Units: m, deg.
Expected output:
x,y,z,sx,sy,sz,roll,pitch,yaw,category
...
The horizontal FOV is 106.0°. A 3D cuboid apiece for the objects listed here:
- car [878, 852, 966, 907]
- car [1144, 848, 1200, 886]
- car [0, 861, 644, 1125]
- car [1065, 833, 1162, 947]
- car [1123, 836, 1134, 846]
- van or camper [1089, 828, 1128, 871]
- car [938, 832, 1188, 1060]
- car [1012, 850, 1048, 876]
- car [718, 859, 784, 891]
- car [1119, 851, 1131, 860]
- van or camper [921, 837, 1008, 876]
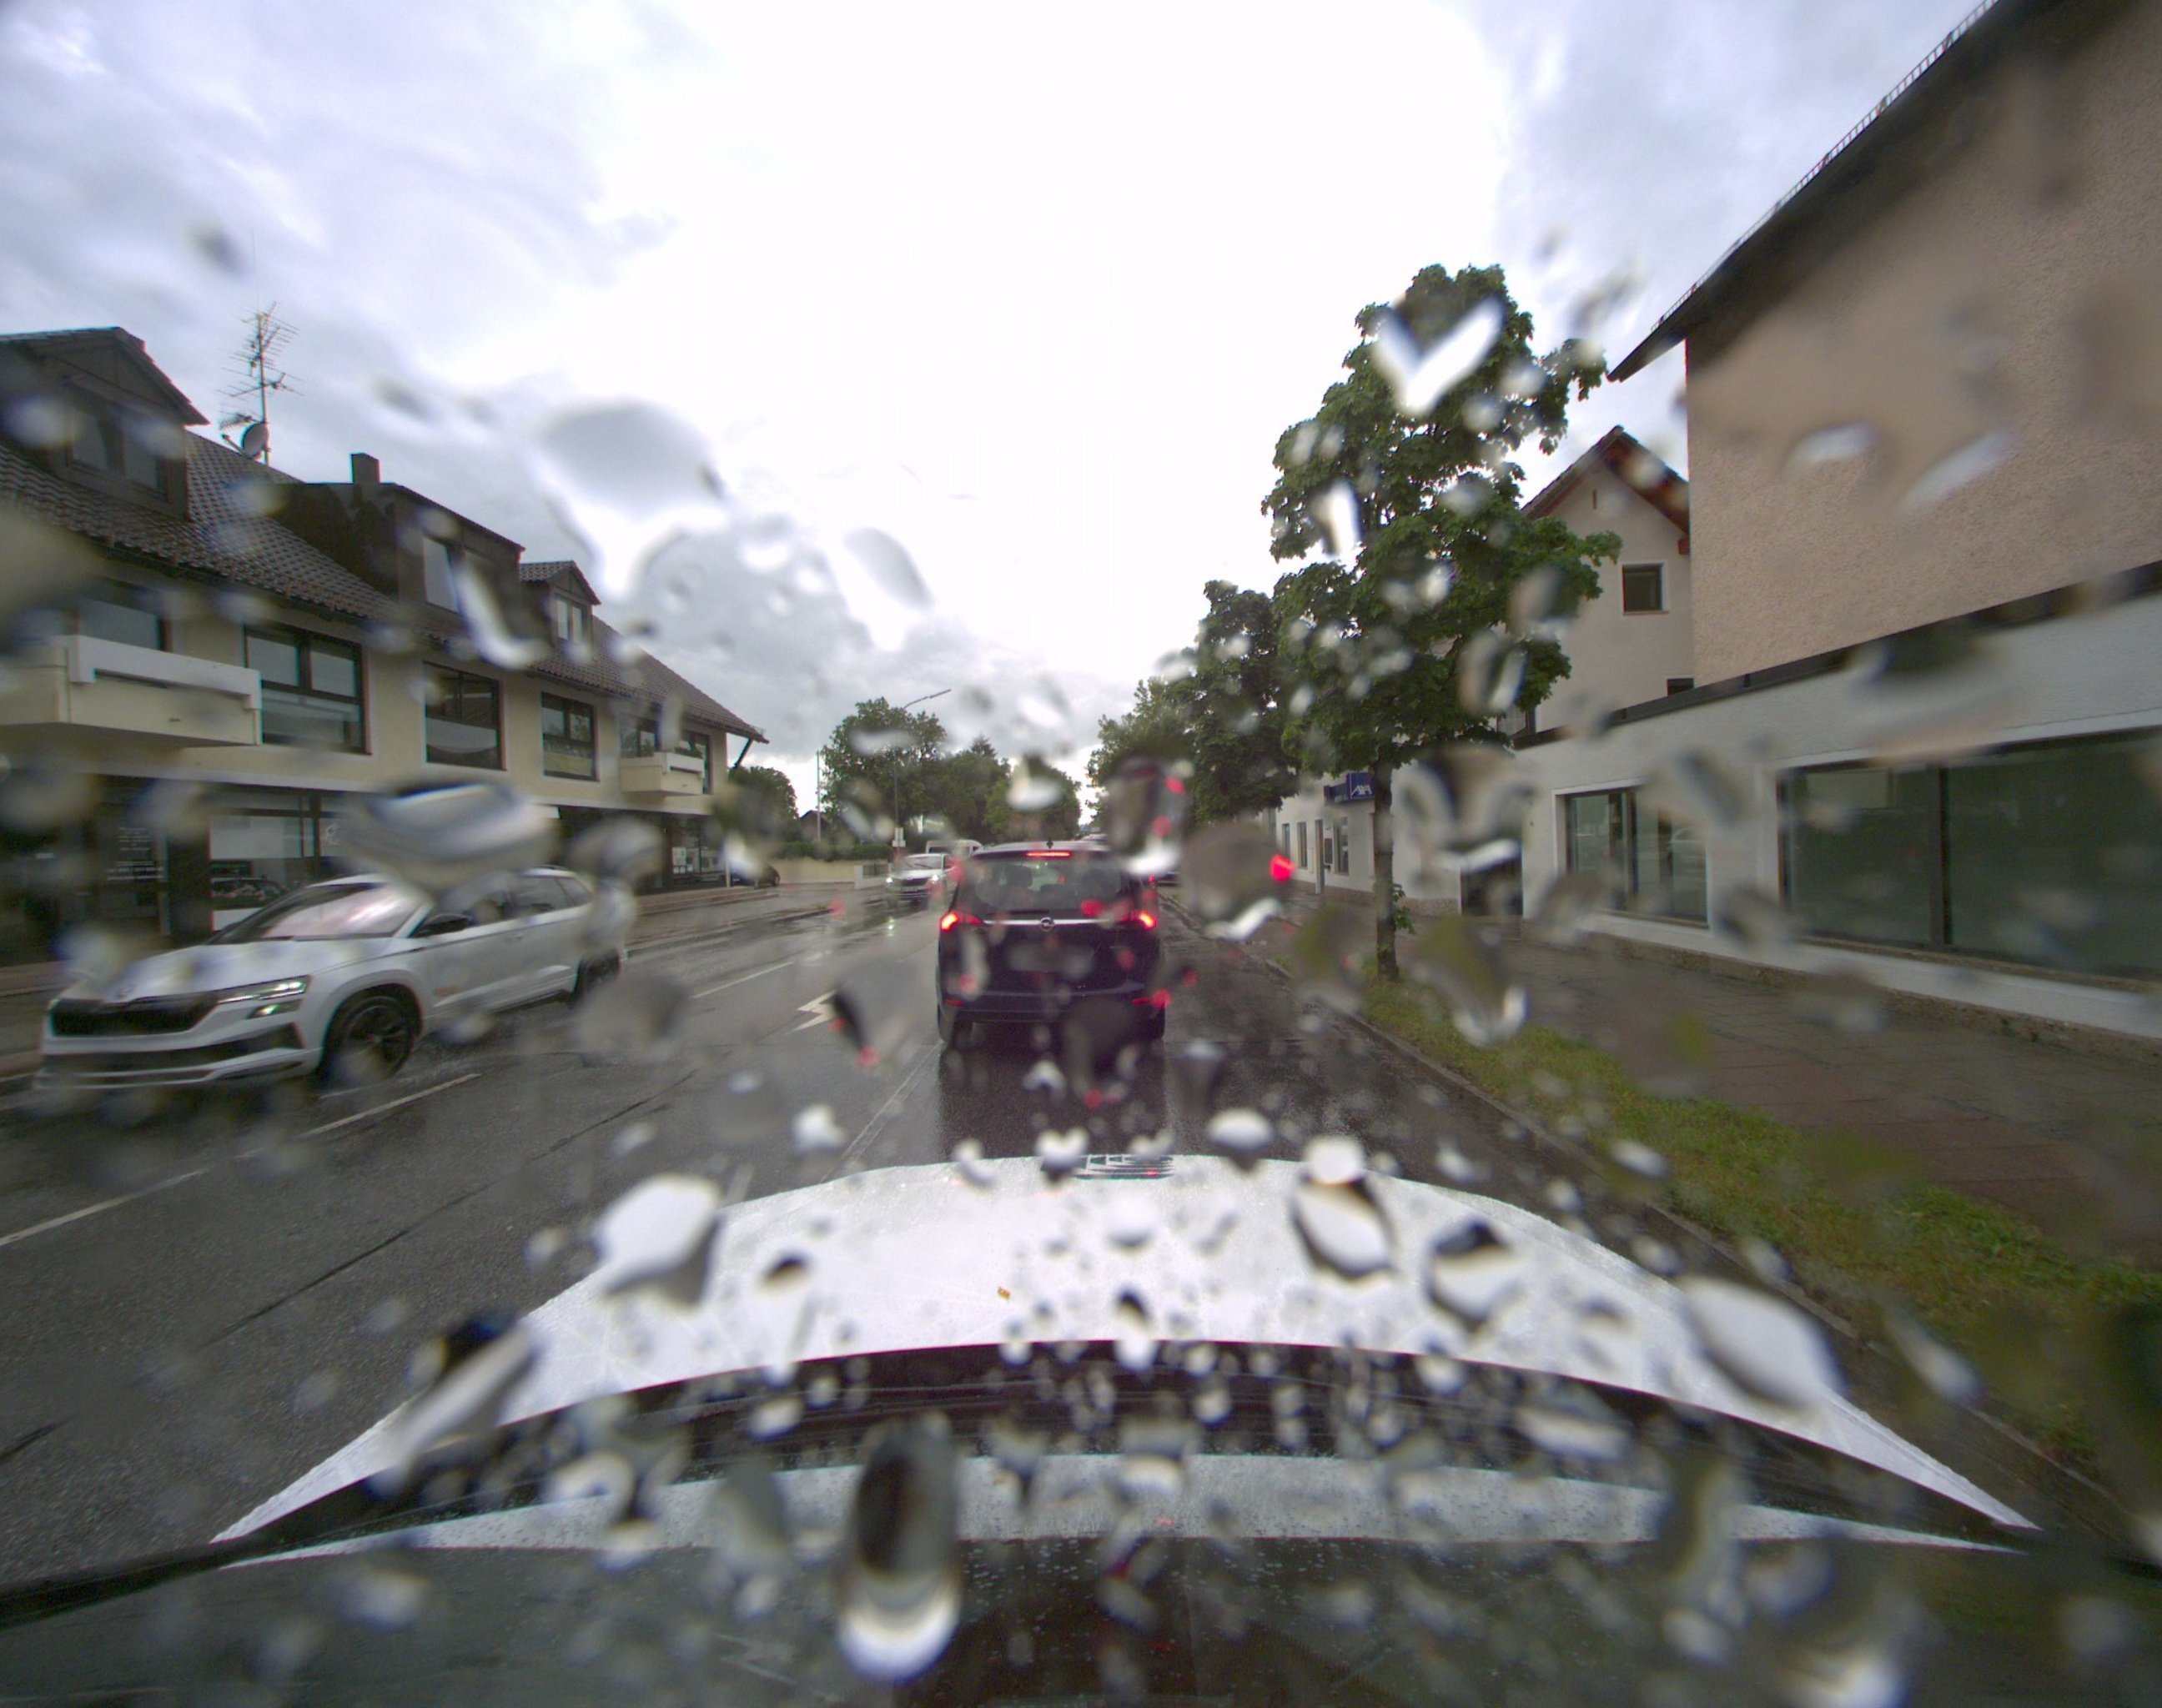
x,y,z,sx,sy,sz,roll,pitch,yaw,category
-5.101,0.770,26.681,1.920,1.566,4.127,-2,0,1,car
3.948,0.540,35.954,2.110,1.581,3.936,0,0,1,car
-6.072,0.907,7.257,1.960,1.562,4.153,-3,0,1,car
0.556,0.564,14.286,1.495,1.776,3.113,0,0,2,car
7.805,-2.123,134.117,1.624,1.378,3.624,-3,0,1,car
1.820,-0.290,54.296,2.351,2.665,5.373,-2,0,2,van or camper
-0.075,0.650,7.629,1.762,1.604,3.664,-1,0,2,car
-3.275,0.544,53.024,1.745,1.511,4.233,-3,0,3,car
-15.996,0.966,39.660,1.601,1.380,3.510,-3,0,2,car
6.745,0.254,124.680,1.624,1.378,3.624,0,0,1,car
-8.756,0.156,61.560,6.232,2.707,2.099,-2,0,-3,van or camper
